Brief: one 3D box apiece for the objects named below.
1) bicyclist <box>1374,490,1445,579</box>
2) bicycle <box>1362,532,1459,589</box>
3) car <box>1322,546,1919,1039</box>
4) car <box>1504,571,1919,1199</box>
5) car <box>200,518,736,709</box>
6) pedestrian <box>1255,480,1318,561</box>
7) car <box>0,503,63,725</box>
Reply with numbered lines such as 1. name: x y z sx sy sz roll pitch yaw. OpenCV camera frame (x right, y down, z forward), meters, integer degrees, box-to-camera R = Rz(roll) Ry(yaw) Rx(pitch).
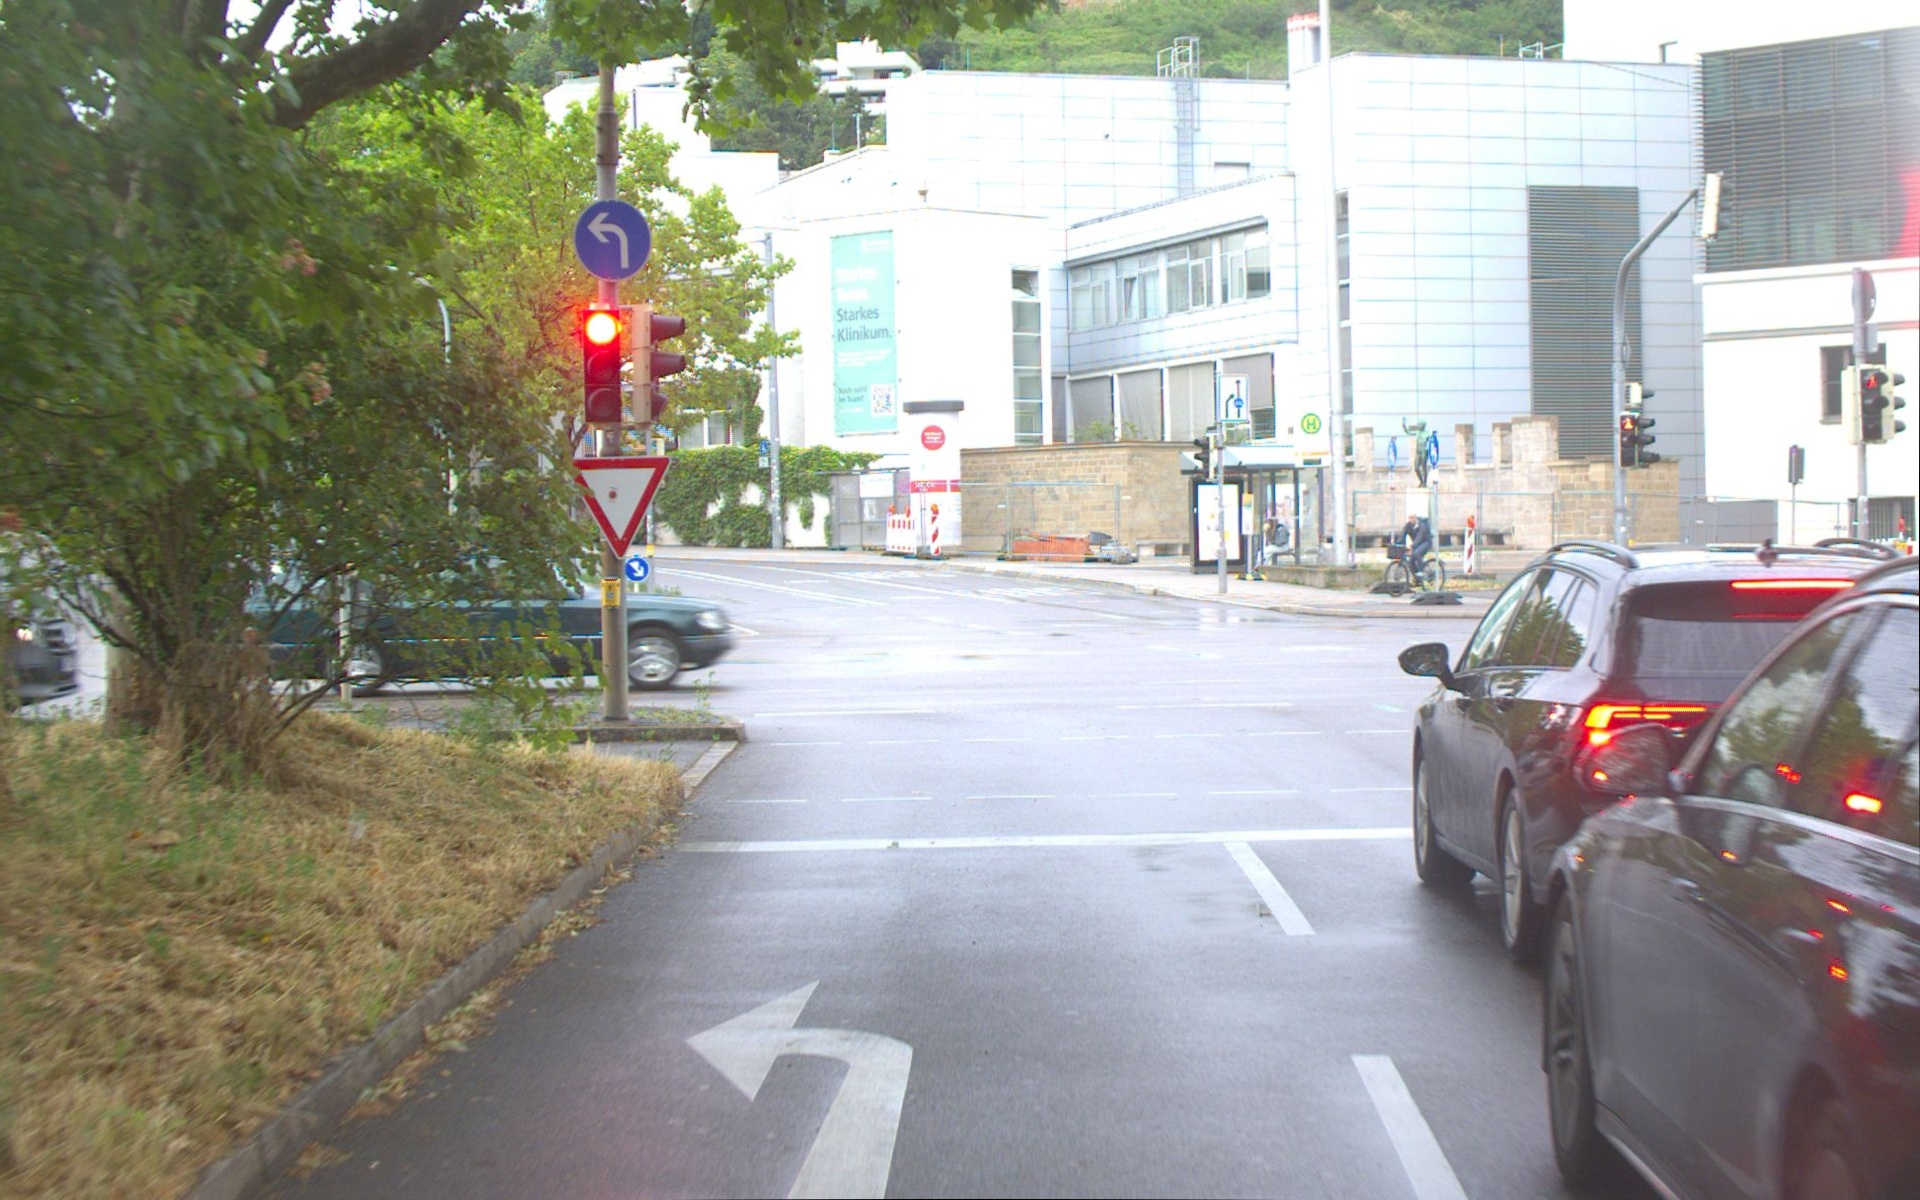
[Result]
1. bicyclist: 8.390 -1.213 64.159 1.125 1.627 0.702 1 0 -33
2. bicycle: 8.423 -0.736 64.194 1.815 1.053 0.648 -1 0 -34
3. car: 2.543 0.567 13.044 1.670 1.461 4.513 0 2 -2
4. car: 2.181 0.707 5.921 1.879 1.440 4.930 1 1 2
5. car: -4.718 0.111 33.342 4.953 1.667 2.000 -1 0 -6
6. pedestrian: 7.096 -1.715 74.691 1.257 1.713 1.016 1 0 0
7. car: -10.171 0.147 28.702 4.771 1.803 2.000 -1 1 3
